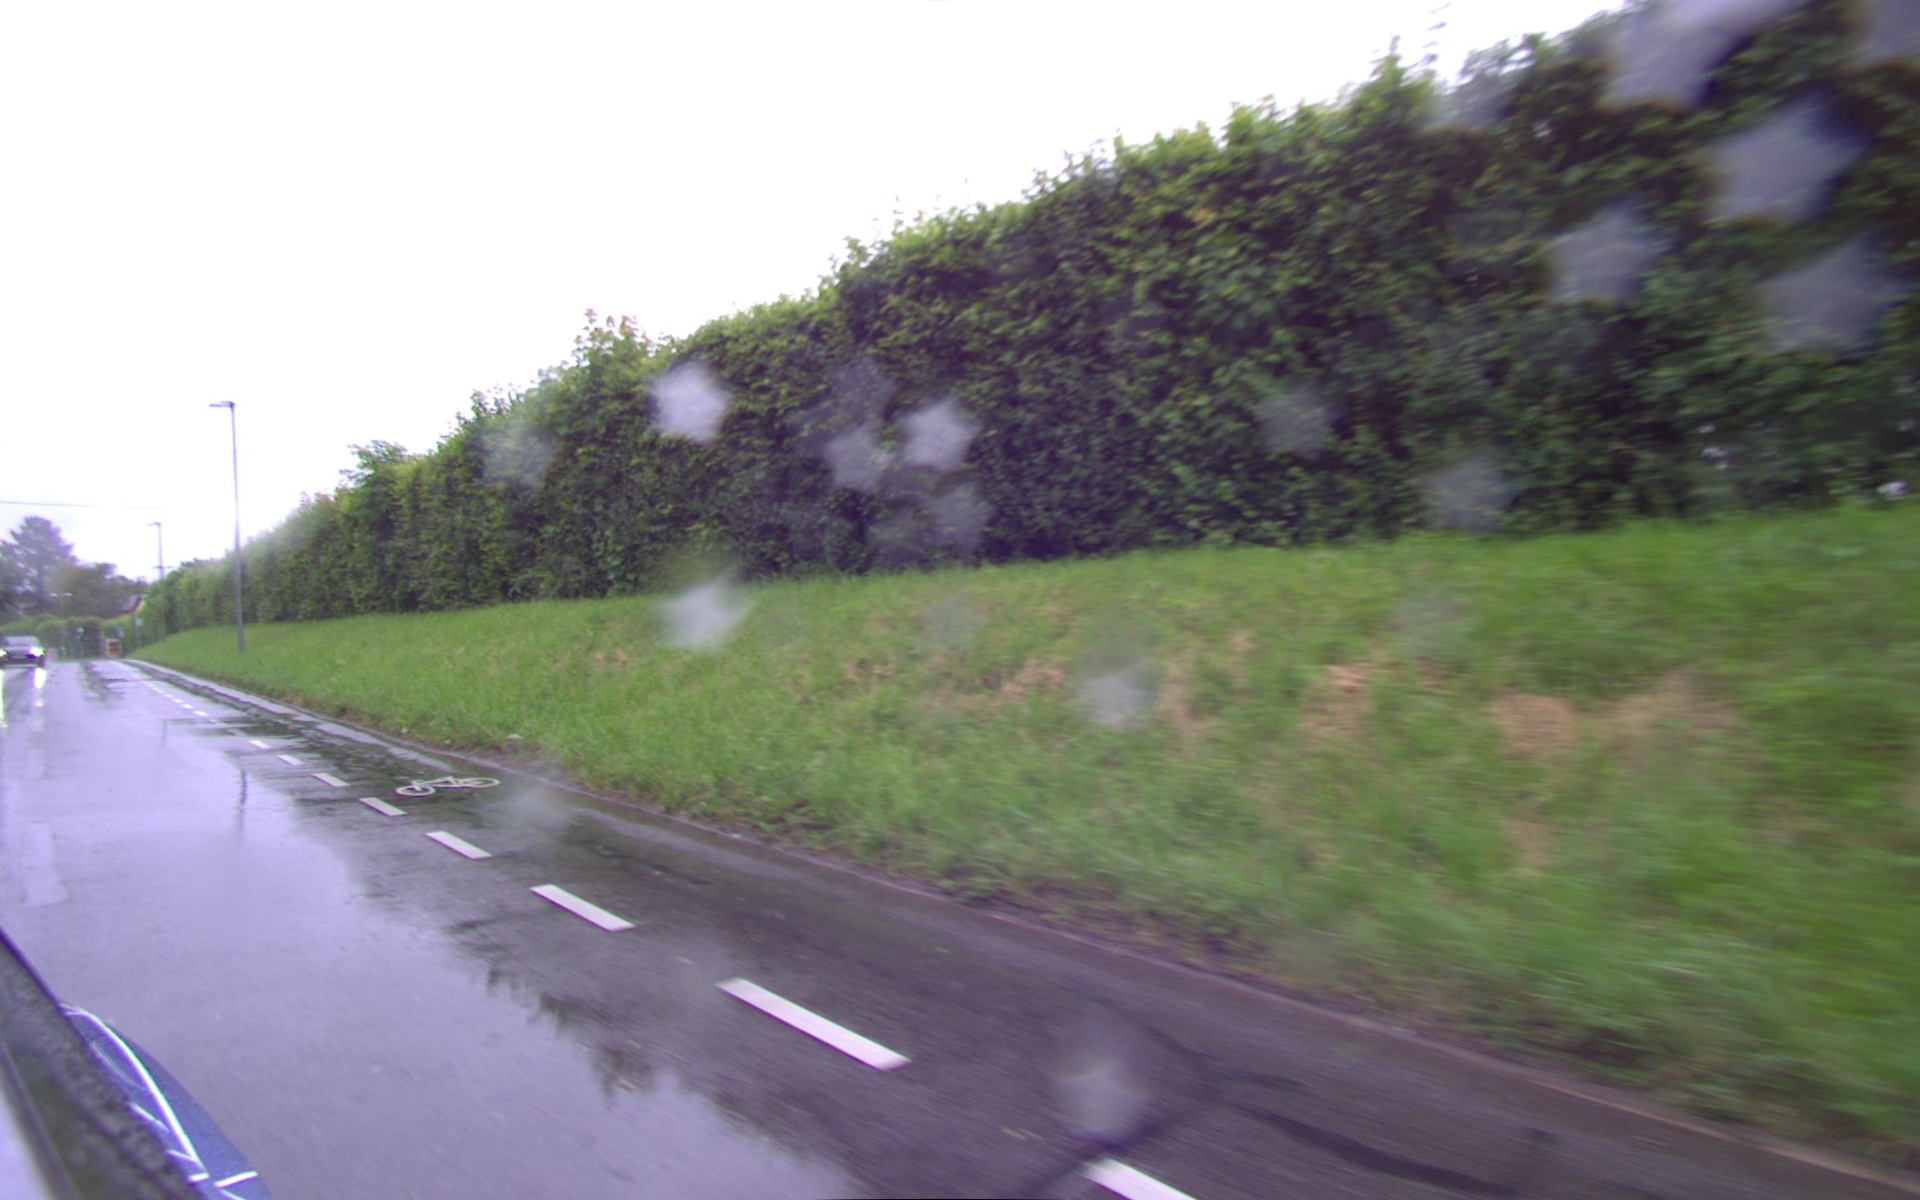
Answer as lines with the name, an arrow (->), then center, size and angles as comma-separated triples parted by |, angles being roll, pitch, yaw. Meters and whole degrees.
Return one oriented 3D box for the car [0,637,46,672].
car -> -44.092, 2.525, 47.423 | 1.773, 1.564, 4.005 | 3, -3, -42
